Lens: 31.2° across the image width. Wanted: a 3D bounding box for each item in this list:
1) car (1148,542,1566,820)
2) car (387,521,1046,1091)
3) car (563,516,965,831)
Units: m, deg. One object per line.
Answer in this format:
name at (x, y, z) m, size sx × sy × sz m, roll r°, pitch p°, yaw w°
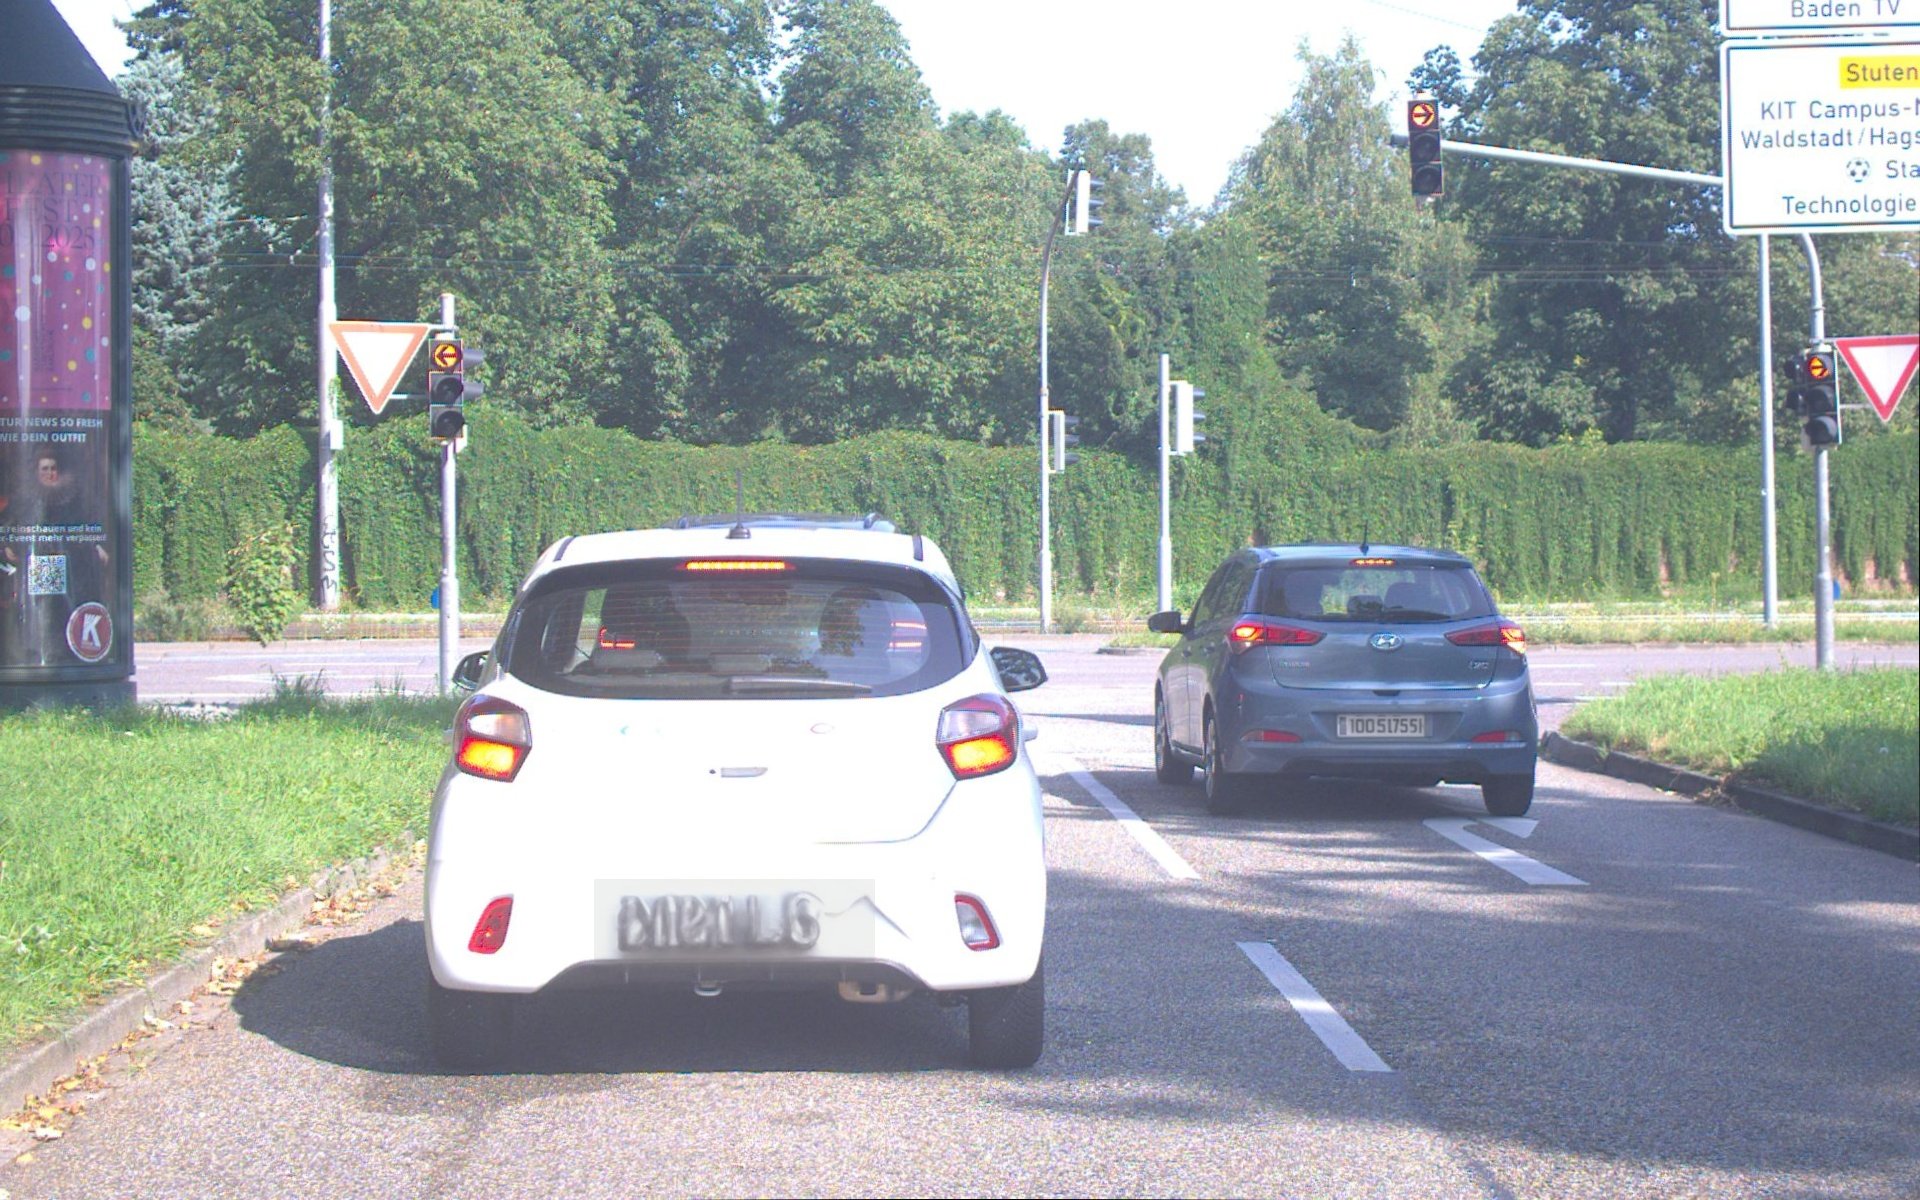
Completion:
car at (2.136, 0.382, 19.556) m, size 1.797 × 1.396 × 4.001 m, roll 0°, pitch 1°, yaw -2°
car at (-0.633, 0.487, 10.819) m, size 1.687 × 1.457 × 4.000 m, roll 0°, pitch 1°, yaw 0°
car at (-0.915, 0.301, 17.971) m, size 1.687 × 1.457 × 3.849 m, roll 0°, pitch 1°, yaw 3°
